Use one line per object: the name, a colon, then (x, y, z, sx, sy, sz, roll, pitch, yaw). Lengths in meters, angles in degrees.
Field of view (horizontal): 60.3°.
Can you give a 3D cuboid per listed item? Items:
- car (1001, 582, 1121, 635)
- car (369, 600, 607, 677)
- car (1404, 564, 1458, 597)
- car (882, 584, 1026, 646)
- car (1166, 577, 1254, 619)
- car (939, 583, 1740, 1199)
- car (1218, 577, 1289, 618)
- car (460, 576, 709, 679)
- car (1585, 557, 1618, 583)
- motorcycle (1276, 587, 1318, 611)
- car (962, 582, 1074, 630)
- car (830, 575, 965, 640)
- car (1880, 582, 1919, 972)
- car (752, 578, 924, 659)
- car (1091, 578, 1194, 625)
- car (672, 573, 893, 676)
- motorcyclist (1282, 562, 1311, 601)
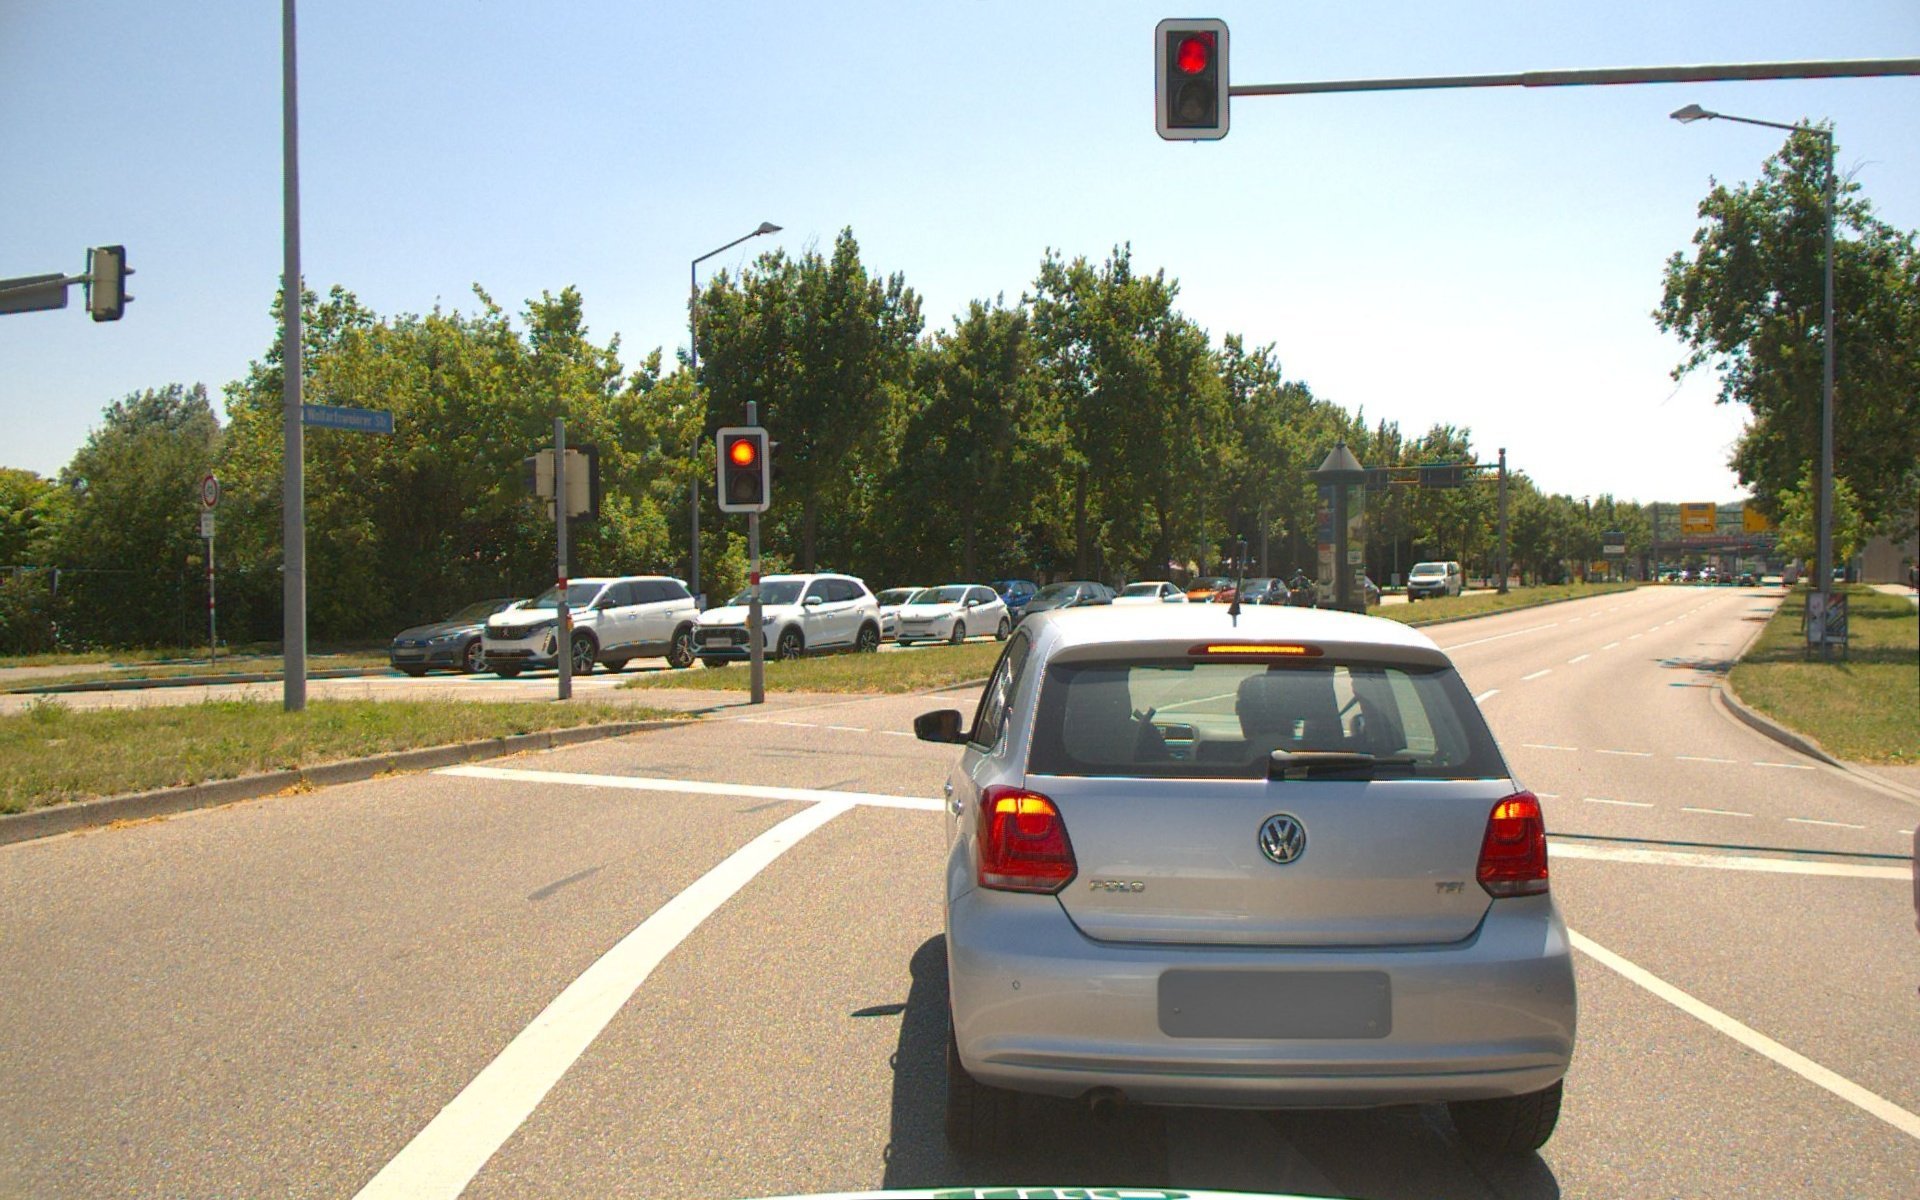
car: (2.977, 0.220, 47.812, 1.823, 1.447, 4.402, 0, 1, 28)
car: (-8.860, 0.674, 31.426, 1.823, 1.292, 4.402, 0, 1, 28)
car: (22.791, -0.954, 79.971, 1.826, 1.582, 3.996, 0, 1, 26)
car: (-0.087, 0.339, 41.992, 1.823, 1.447, 4.402, 0, 1, 28)
car: (9.144, -0.100, 60.199, 1.823, 1.447, 4.402, 0, 1, 28)
car: (0.835, 0.681, 5.701, 1.740, 1.447, 3.999, 0, 1, -2)
car: (11.456, -0.110, 64.428, 1.682, 1.500, 3.793, -2, -1, 27)
car: (-6.456, 0.414, 28.921, 1.823, 1.646, 4.402, 0, 1, 28)
car: (46.115, -2.149, 118.843, 1.766, 1.722, 4.136, -2, -1, 28)
motorcycle: (14.209, -0.053, 69.607, 0.878, 0.969, 2.810, -2, -1, 30)
car: (1.876, 0.163, 52.185, 1.823, 1.447, 4.402, 0, 1, 28)
car: (-1.676, 0.171, 46.093, 1.823, 1.712, 4.402, 0, 1, 28)
car: (4.467, 0.686, 4.155, 1.952, 1.443, 4.457, 0, 1, 2)
car: (-2.680, 0.369, 37.323, 1.823, 1.712, 4.402, 0, 1, 28)
car: (5.979, 0.019, 53.745, 1.823, 1.447, 4.402, 0, 1, 28)
car: (-3.100, 0.383, 29.849, 1.823, 1.712, 4.402, 0, 1, 28)
motorcyclist: (14.145, -0.776, 69.541, 0.889, 1.614, 1.008, -2, -1, 30)
